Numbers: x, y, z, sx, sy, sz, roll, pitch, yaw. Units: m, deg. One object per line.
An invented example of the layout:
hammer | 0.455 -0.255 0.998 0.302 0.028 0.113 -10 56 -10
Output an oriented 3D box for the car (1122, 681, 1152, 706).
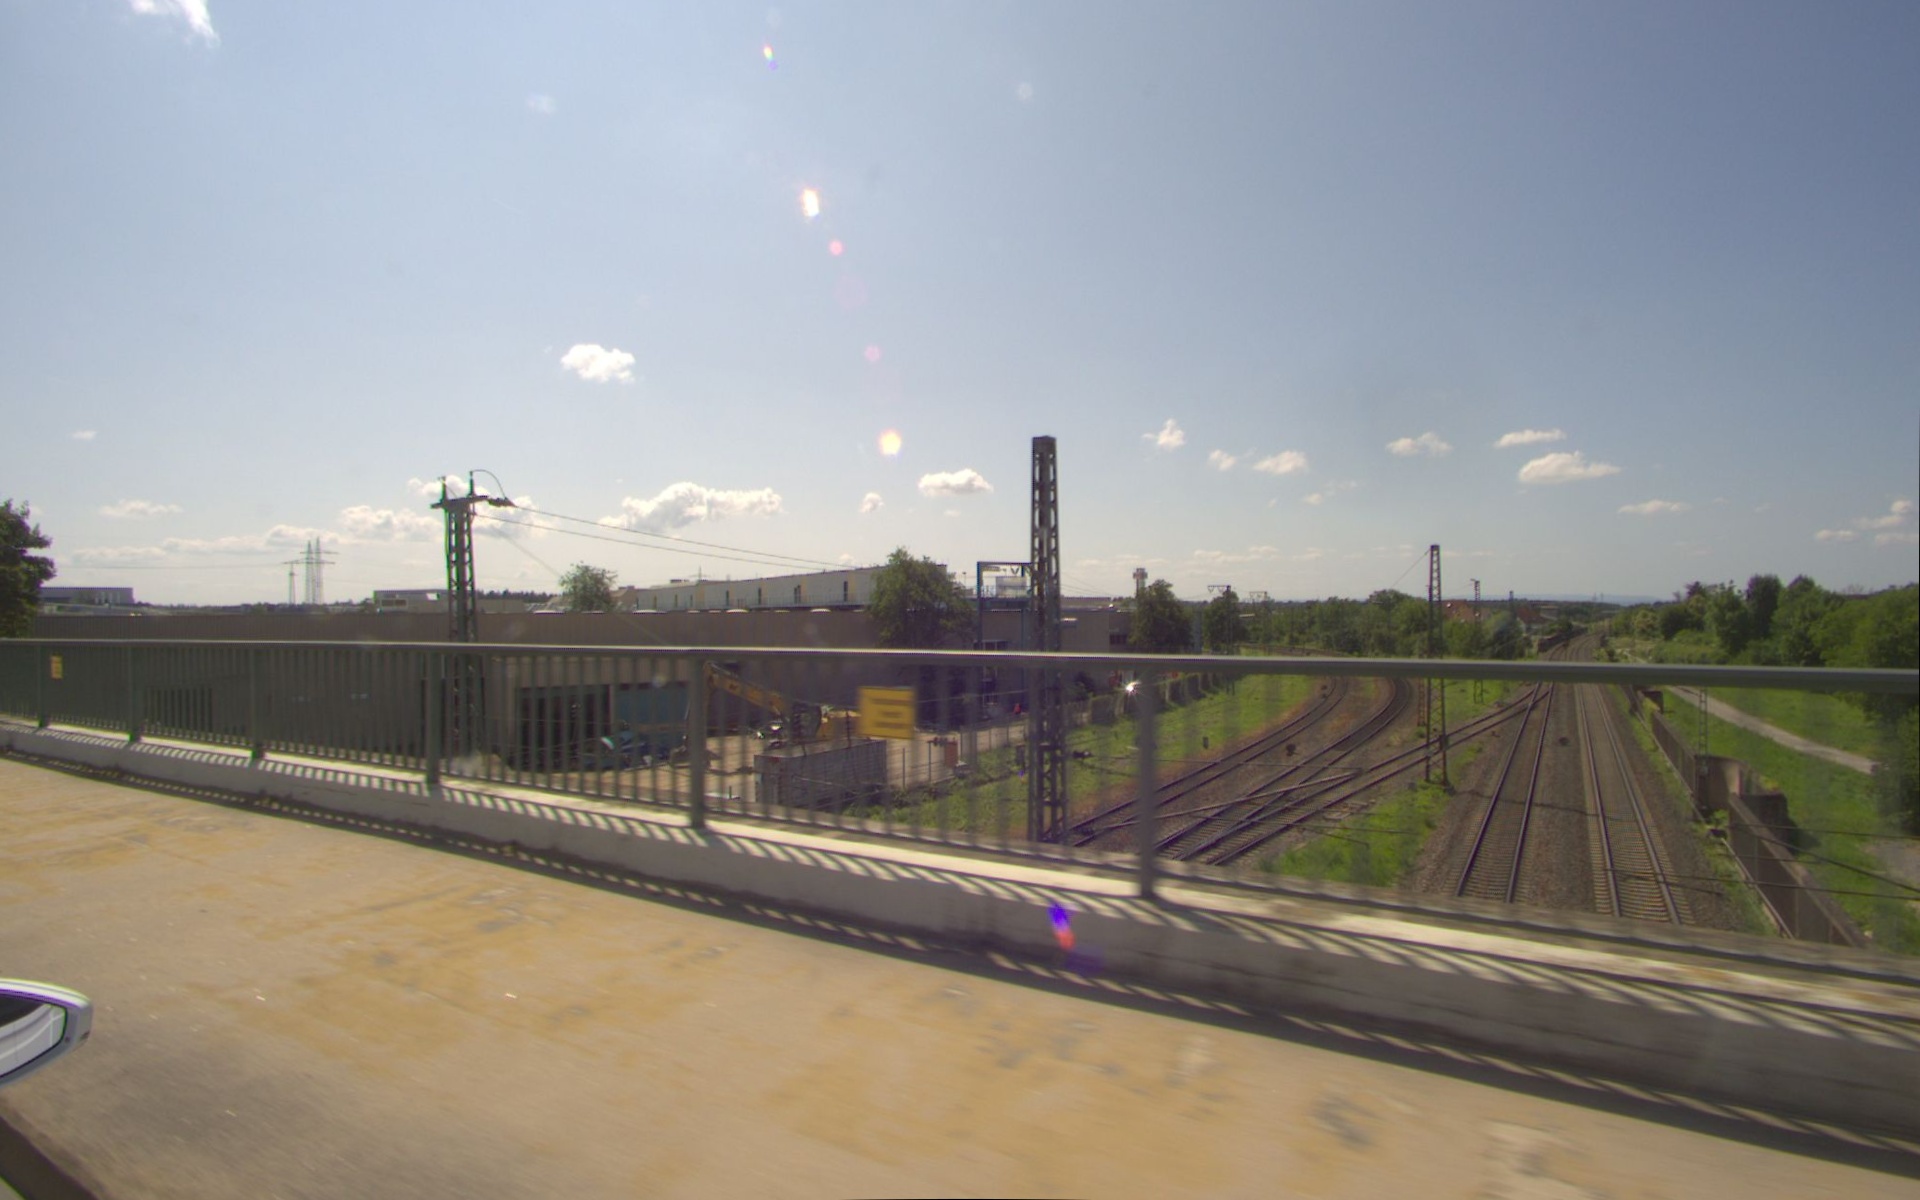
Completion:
car | 17.711 9.302 100.108 1.967 2.040 3.987 -1 0 24

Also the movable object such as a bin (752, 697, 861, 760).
movable object such as a bin | -9.820 8.114 63.915 6.134 3.334 3.230 1 1 -30

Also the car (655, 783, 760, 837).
car | -10.629 8.756 42.058 4.186 1.614 1.991 -1 -5 35
